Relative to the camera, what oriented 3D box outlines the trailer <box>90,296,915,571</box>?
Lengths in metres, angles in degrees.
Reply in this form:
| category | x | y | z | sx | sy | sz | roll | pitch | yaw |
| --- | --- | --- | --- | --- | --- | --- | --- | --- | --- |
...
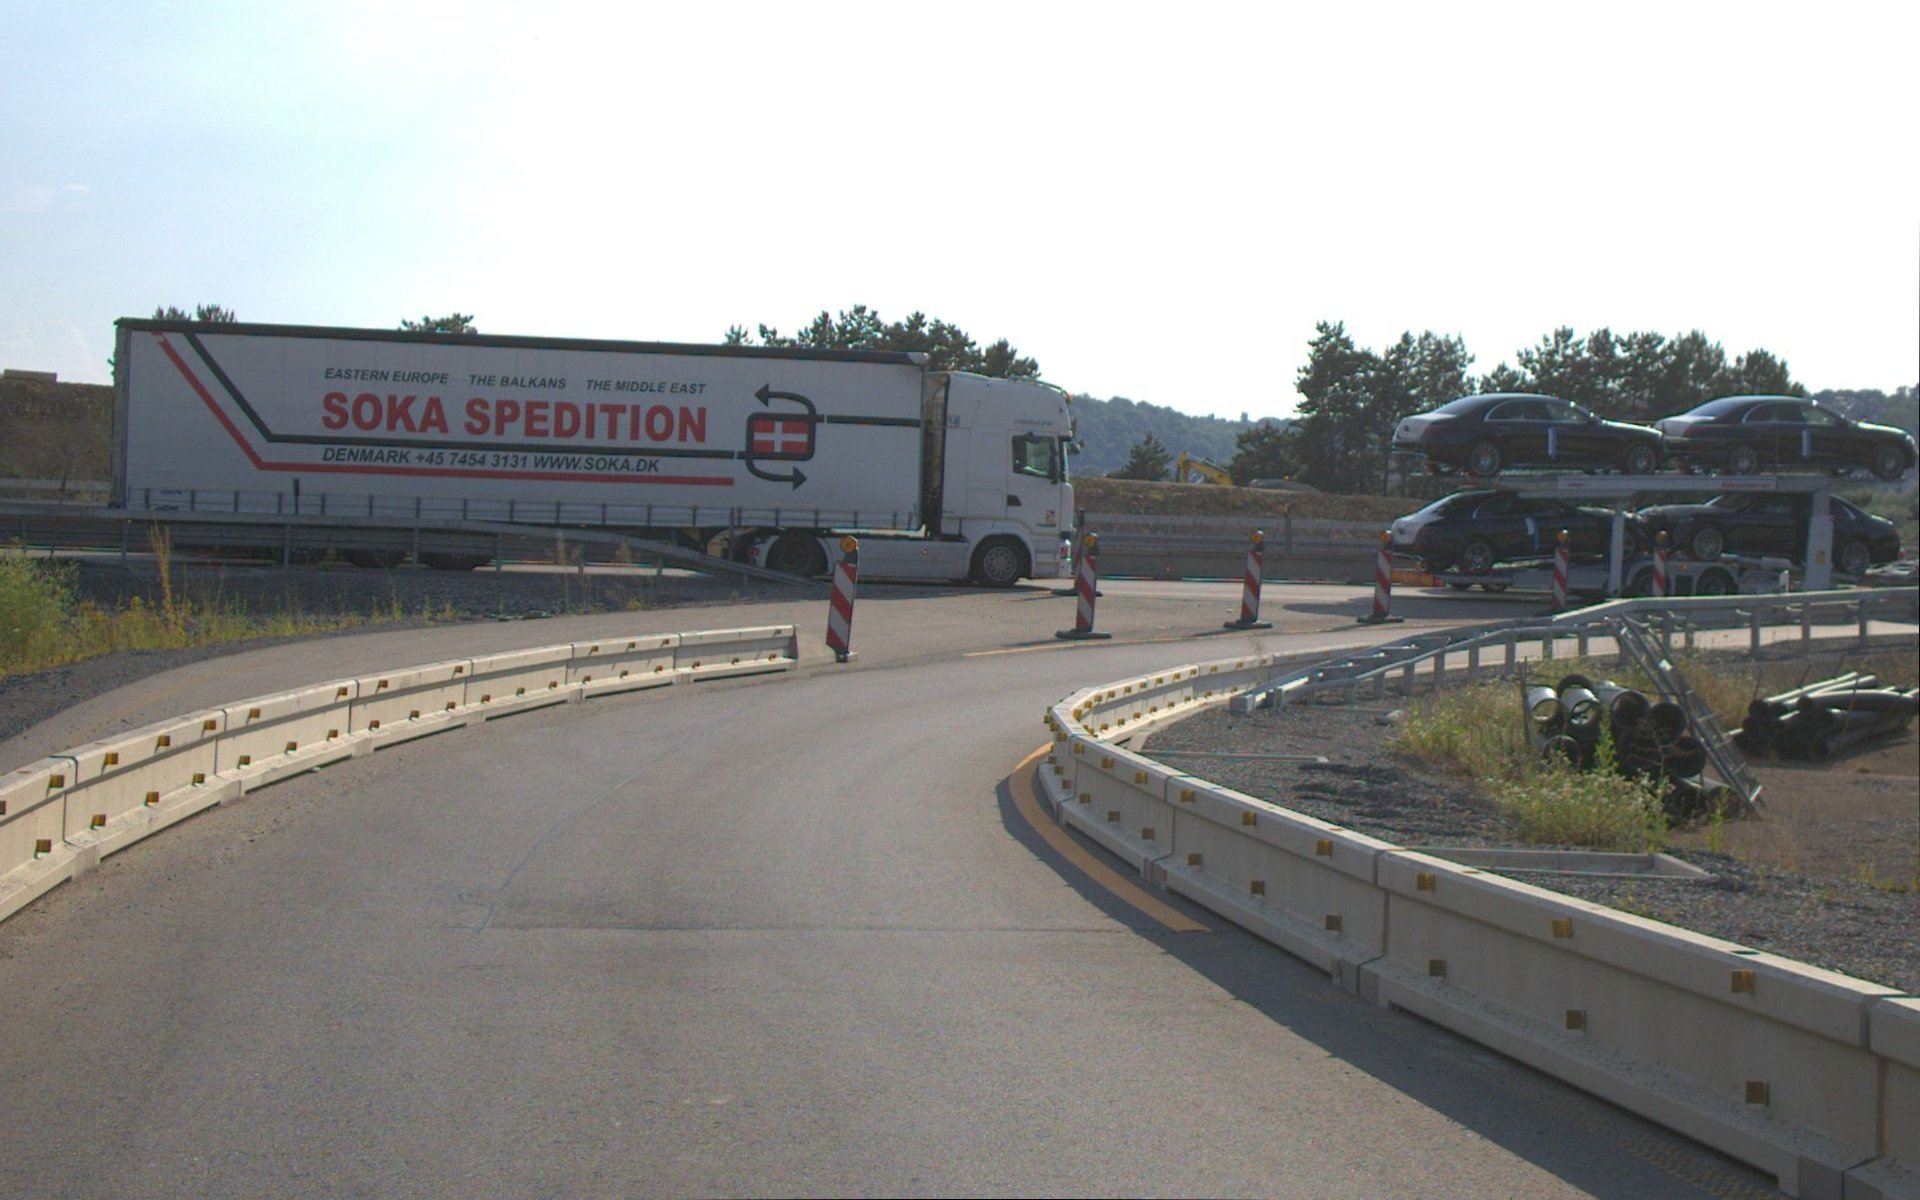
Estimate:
| category | x | y | z | sx | sy | sz | roll | pitch | yaw |
| --- | --- | --- | --- | --- | --- | --- | --- | --- | --- |
| trailer | -7.714 | -2.755 | 58.695 | 13.581 | 3.865 | 2.489 | 2 | 2 | -18 |

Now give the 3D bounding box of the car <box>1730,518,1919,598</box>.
| category | x | y | z | sx | sy | sz | roll | pitch | yaw |
| --- | --- | --- | --- | --- | --- | --- | --- | --- | --- |
| car | 19.513 | -0.894 | 74.741 | 4.961 | 1.495 | 2.036 | 2 | 3 | -16 |

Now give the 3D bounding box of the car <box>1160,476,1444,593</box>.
| category | x | y | z | sx | sy | sz | roll | pitch | yaw |
| --- | --- | --- | --- | --- | --- | --- | --- | --- | --- |
| car | 6.590 | -1.271 | 66.405 | 4.961 | 1.974 | 2.036 | 2 | 3 | -16 |

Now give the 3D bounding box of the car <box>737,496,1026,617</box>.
| category | x | y | z | sx | sy | sz | roll | pitch | yaw |
| --- | --- | --- | --- | --- | --- | --- | --- | --- | --- |
| car | -1.484 | -0.819 | 64.268 | 4.961 | 1.974 | 2.036 | 2 | 3 | -16 |

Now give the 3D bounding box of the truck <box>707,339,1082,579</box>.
| category | x | y | z | sx | sy | sz | roll | pitch | yaw |
| --- | --- | --- | --- | --- | --- | --- | --- | --- | --- |
| truck | -1.173 | -2.467 | 60.764 | 5.990 | 3.865 | 2.489 | 2 | 2 | -18 |

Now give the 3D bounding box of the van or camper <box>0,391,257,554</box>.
| category | x | y | z | sx | sy | sz | roll | pitch | yaw |
| --- | --- | --- | --- | --- | --- | --- | --- | --- | --- |
| van or camper | -15.440 | -2.272 | 60.223 | 5.882 | 2.611 | 2.001 | 2 | 2 | -16 |

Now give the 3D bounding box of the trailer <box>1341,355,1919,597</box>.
| category | x | y | z | sx | sy | sz | roll | pitch | yaw |
| --- | --- | --- | --- | --- | --- | --- | --- | --- | --- |
| trailer | 15.218 | -2.205 | 66.043 | 15.689 | 3.982 | 2.868 | 2 | 1 | -17 |
